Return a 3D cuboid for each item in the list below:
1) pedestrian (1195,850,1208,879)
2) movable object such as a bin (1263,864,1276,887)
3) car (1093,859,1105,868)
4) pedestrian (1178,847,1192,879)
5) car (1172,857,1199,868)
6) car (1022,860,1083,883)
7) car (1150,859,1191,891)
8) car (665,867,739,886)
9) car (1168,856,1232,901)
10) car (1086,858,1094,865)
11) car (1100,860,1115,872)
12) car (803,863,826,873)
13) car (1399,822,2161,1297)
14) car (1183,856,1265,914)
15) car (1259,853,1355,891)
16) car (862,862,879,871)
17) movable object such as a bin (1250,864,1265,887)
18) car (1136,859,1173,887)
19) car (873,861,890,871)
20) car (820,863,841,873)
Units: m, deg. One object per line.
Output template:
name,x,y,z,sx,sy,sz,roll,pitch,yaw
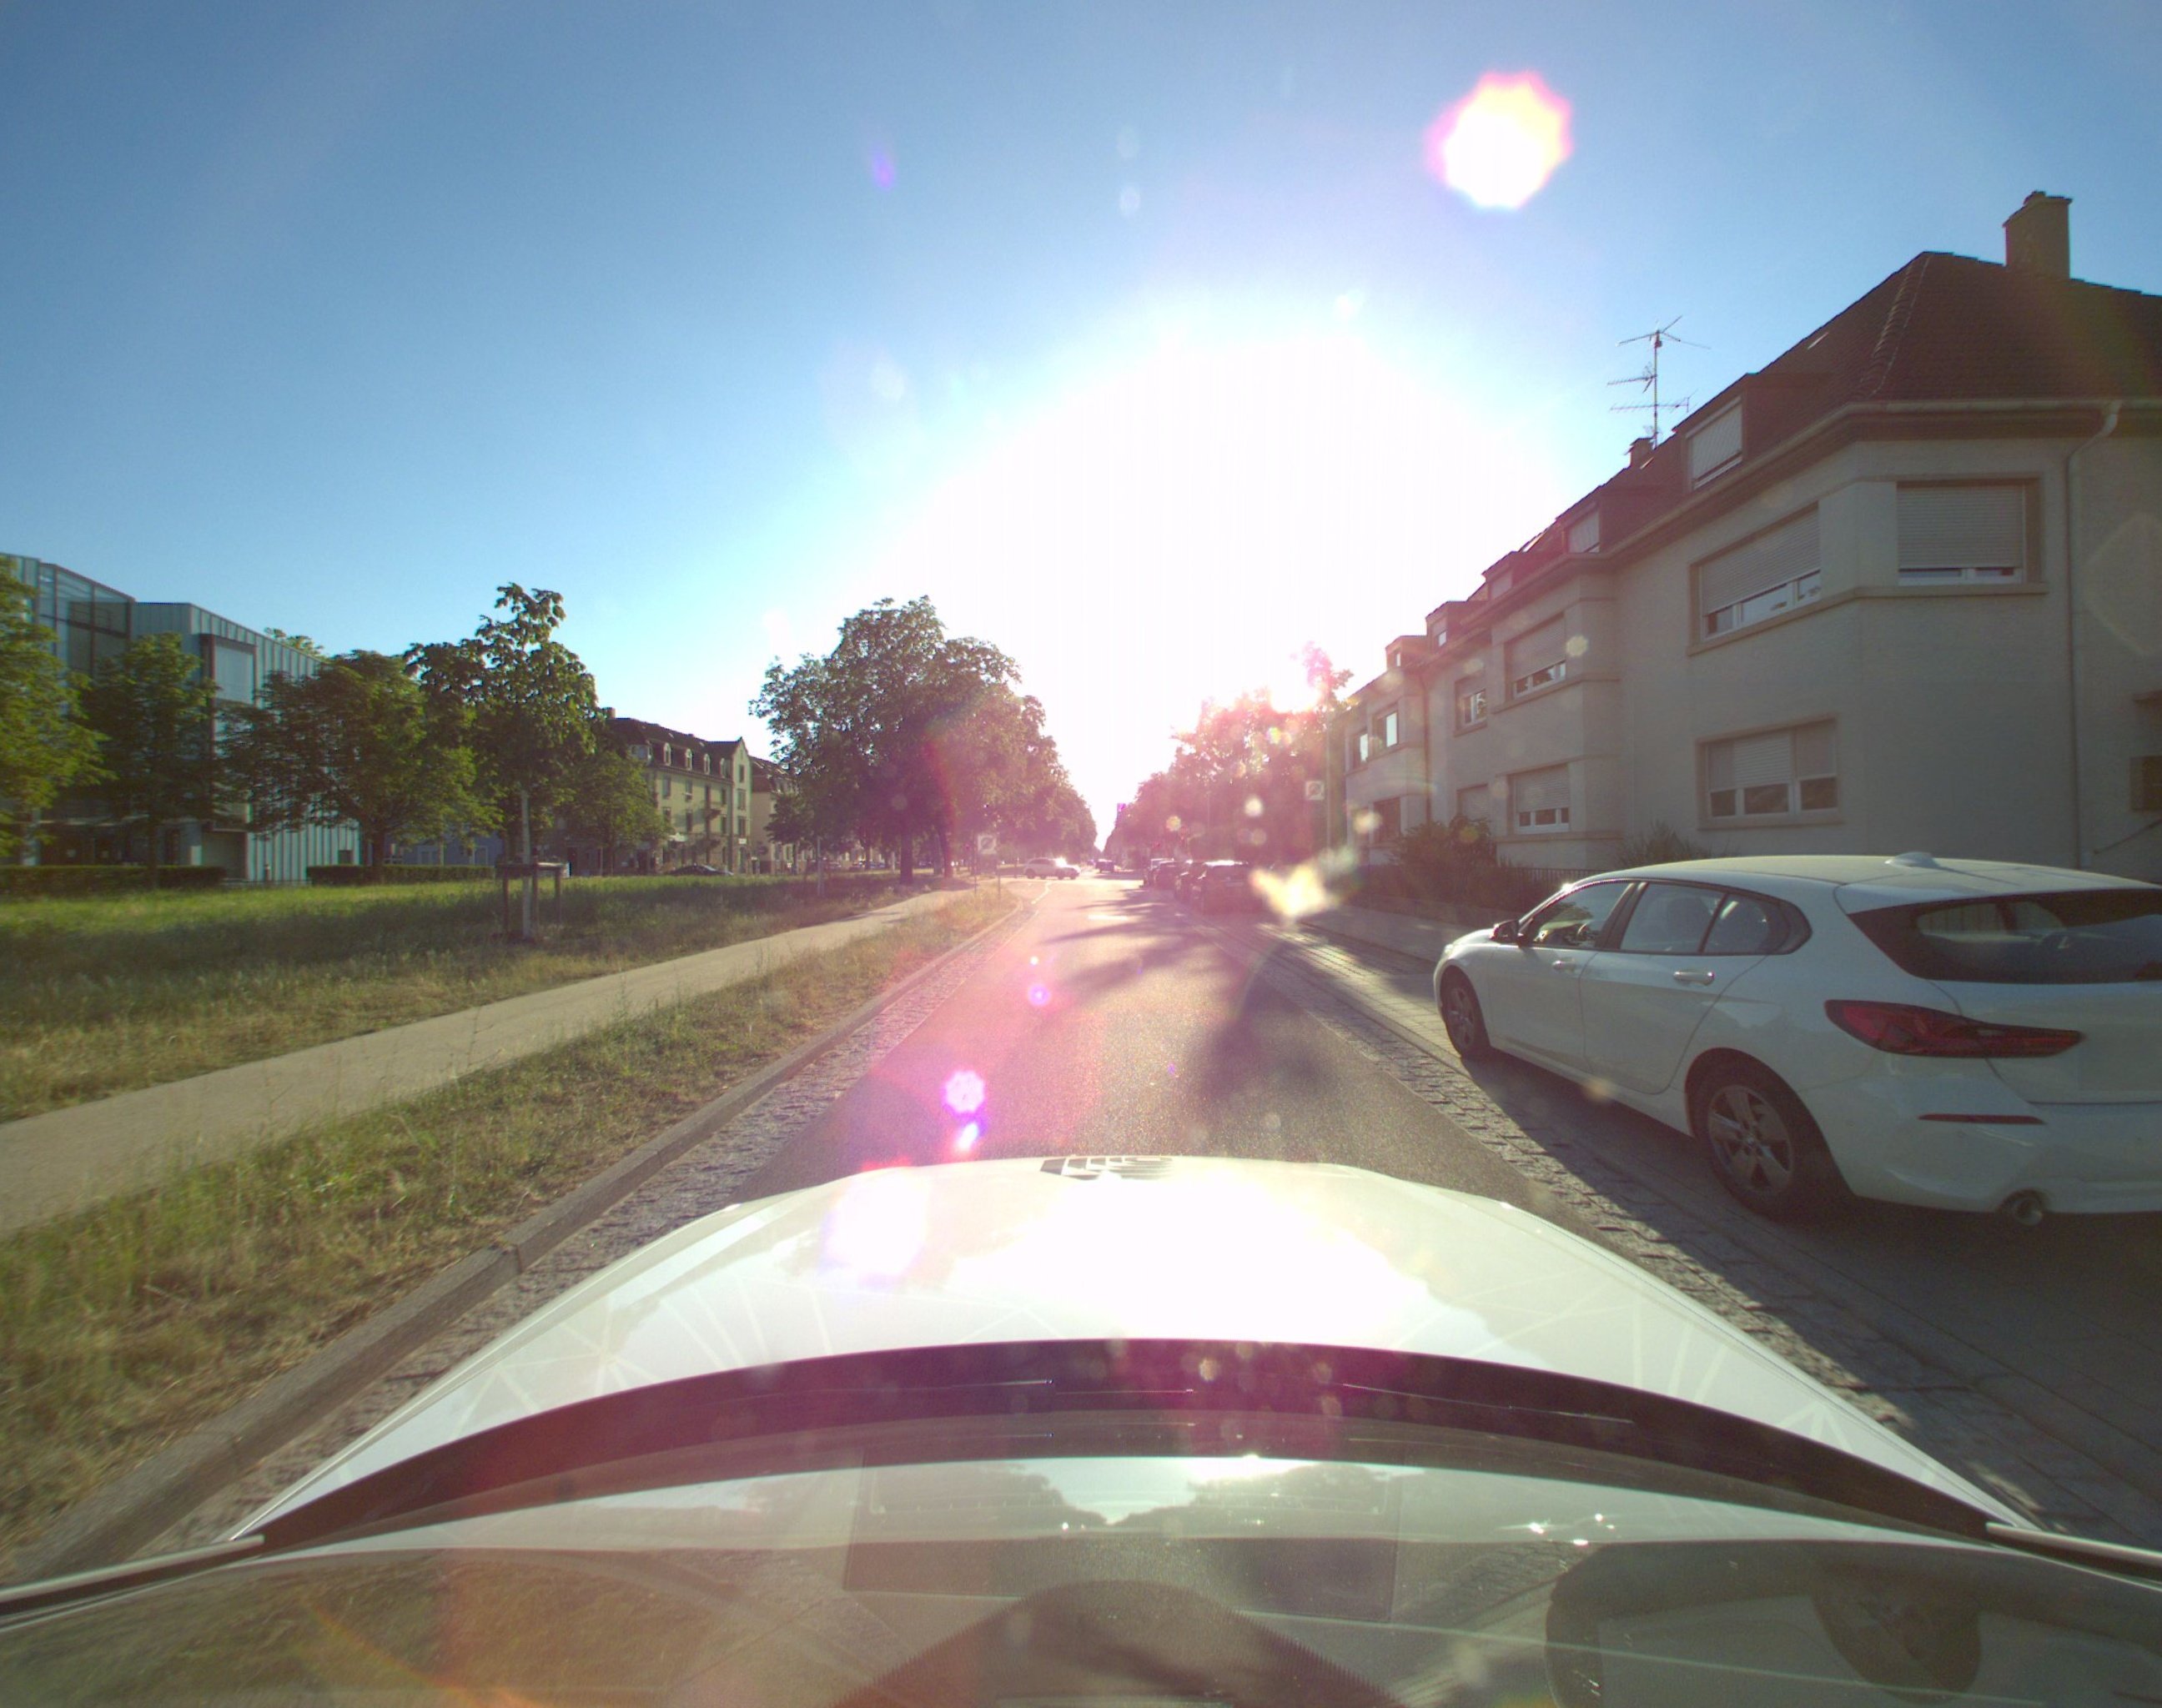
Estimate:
pedestrian,7.050,0.622,47.739,0.666,1.708,0.623,0,-1,1
movable object such as a bin,8.621,0.985,37.260,0.506,1.043,0.416,0,-1,-5
car,2.886,1.523,131.700,1.838,1.394,3.830,0,0,2
pedestrian,6.105,0.539,47.734,0.668,1.865,0.881,0,0,-2
car,15.241,1.194,118.576,3.766,1.525,1.744,0,1,1
car,-2.211,1.317,63.434,4.368,1.677,1.909,1,-1,31
car,4.427,1.007,40.594,1.635,1.427,3.937,-2,-1,1
car,-29.316,1.716,63.110,4.760,1.434,1.810,0,-1,-7
car,4.201,0.834,29.303,1.740,1.474,4.255,-1,0,1
car,2.484,2.160,227.953,2.126,2.014,3.903,0,0,2
car,3.184,1.417,97.529,1.634,1.451,3.310,0,0,4
car,-39.694,2.051,121.419,1.728,1.397,3.800,0,0,8
car,3.589,0.660,4.787,1.777,1.507,4.233,-2,0,1
car,4.106,0.846,23.966,1.712,1.471,3.983,-3,-1,1
car,9.683,0.760,35.084,3.621,1.496,1.781,-2,-1,1
car,-33.880,1.973,131.121,1.731,1.427,3.794,0,0,2
movable object such as a bin,8.069,0.990,37.218,0.506,1.043,0.658,0,-1,-4
car,4.203,1.070,47.412,1.852,1.542,4.874,0,-1,2
car,-33.440,1.991,136.746,1.731,1.427,3.794,0,1,2
car,-39.323,2.200,127.759,1.728,1.427,3.800,0,0,7
